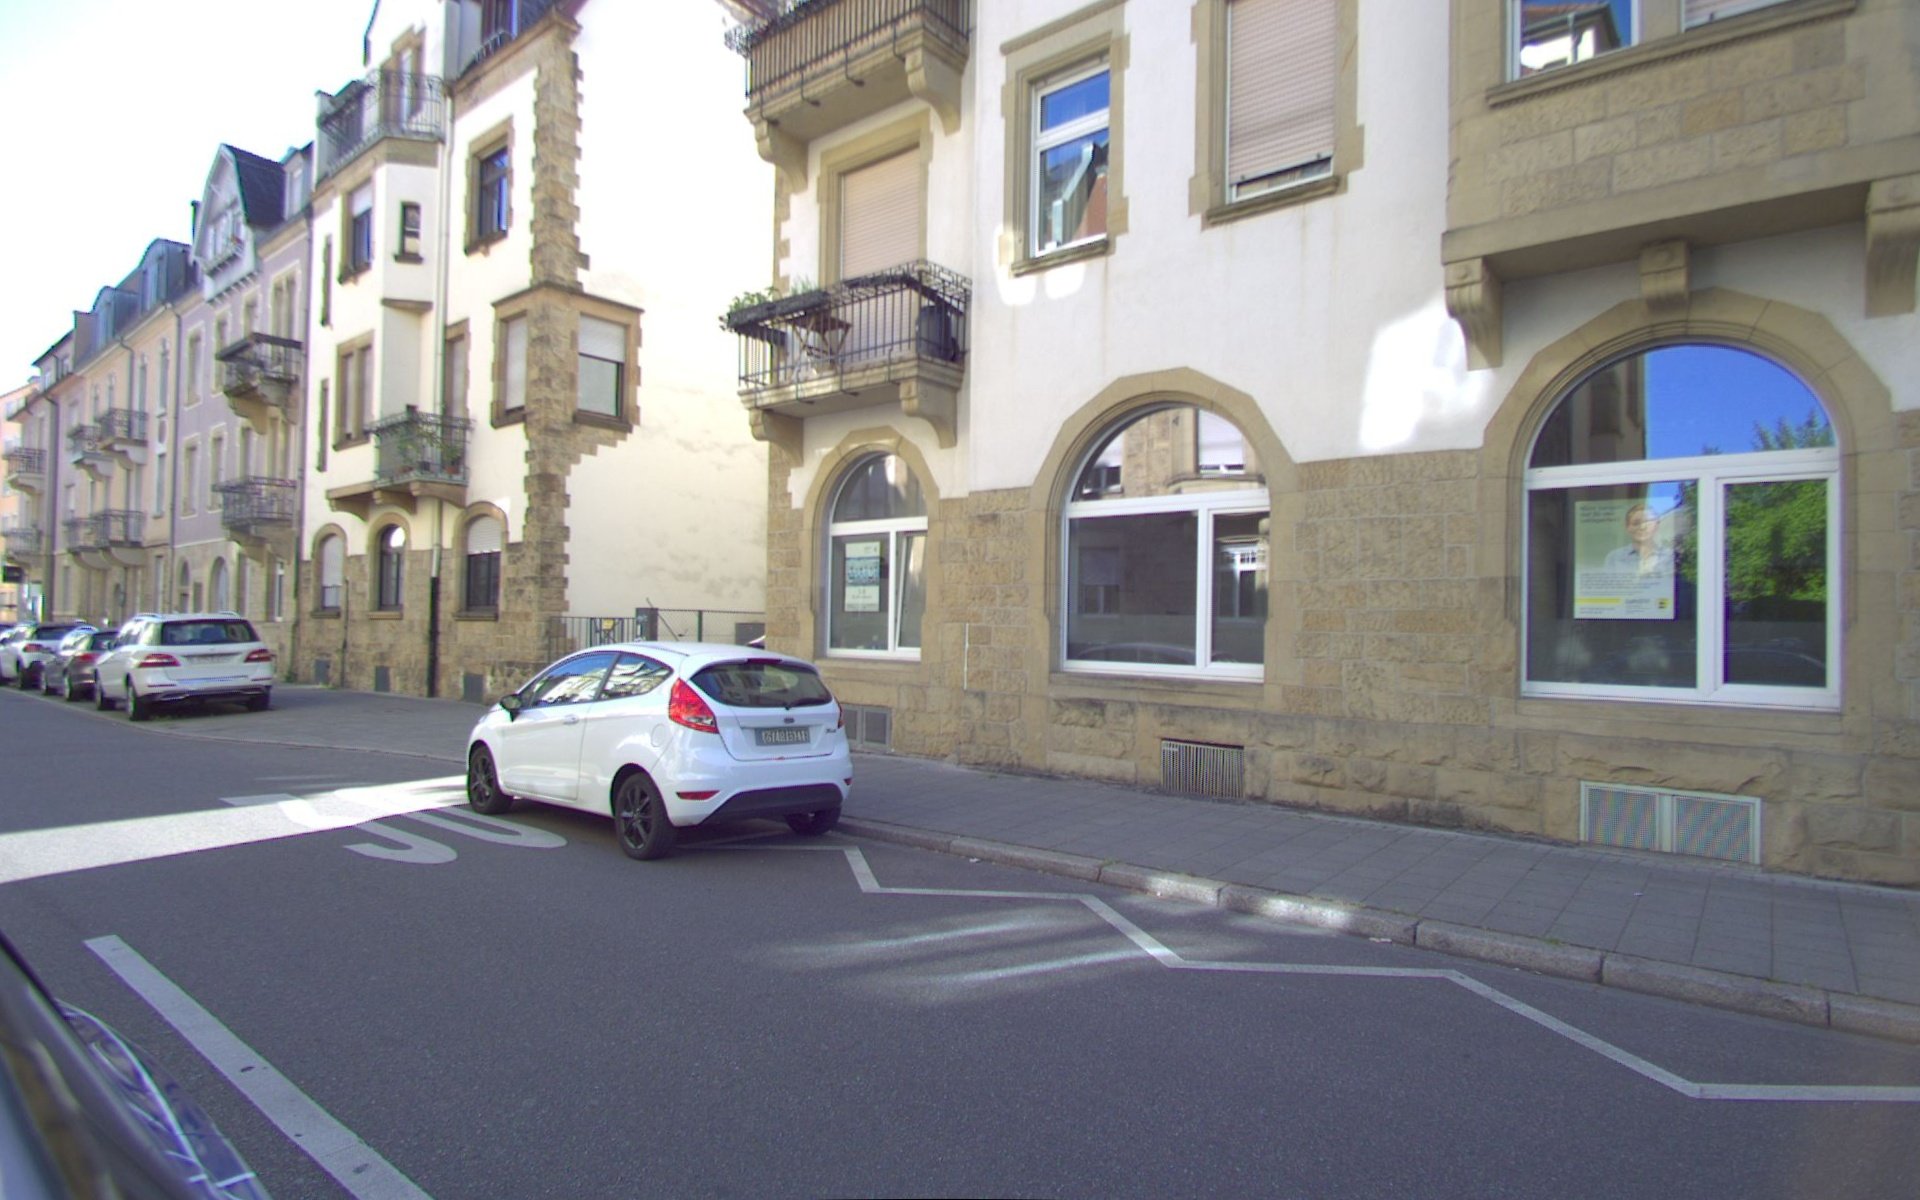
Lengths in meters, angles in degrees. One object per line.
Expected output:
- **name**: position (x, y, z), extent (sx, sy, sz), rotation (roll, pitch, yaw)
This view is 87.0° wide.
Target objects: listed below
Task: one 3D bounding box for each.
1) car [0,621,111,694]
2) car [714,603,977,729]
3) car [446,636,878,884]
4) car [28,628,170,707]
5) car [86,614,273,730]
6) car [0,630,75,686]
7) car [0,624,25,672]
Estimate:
- **car**: position (-22.675, 1.373, 25.091), extent (4.015, 1.595, 1.698), rotation (-1, 1, 38)
- **car**: position (-1.703, 1.003, 16.124), extent (1.908, 1.741, 3.928), rotation (-2, -3, 40)
- **car**: position (-2.516, 1.049, 8.077), extent (3.734, 1.475, 1.616), rotation (-1, -2, 43)
- **car**: position (-18.434, 1.363, 21.604), extent (4.275, 1.498, 1.558), rotation (-1, -1, 39)
- **car**: position (-13.927, 1.180, 17.945), extent (4.726, 1.735, 1.871), rotation (-2, 0, 43)
- **car**: position (-26.706, 1.605, 28.645), extent (3.658, 1.404, 1.658), rotation (-1, 1, 36)
- **car**: position (-32.881, 1.591, 33.936), extent (3.719, 1.550, 1.698), rotation (-1, -2, 38)
